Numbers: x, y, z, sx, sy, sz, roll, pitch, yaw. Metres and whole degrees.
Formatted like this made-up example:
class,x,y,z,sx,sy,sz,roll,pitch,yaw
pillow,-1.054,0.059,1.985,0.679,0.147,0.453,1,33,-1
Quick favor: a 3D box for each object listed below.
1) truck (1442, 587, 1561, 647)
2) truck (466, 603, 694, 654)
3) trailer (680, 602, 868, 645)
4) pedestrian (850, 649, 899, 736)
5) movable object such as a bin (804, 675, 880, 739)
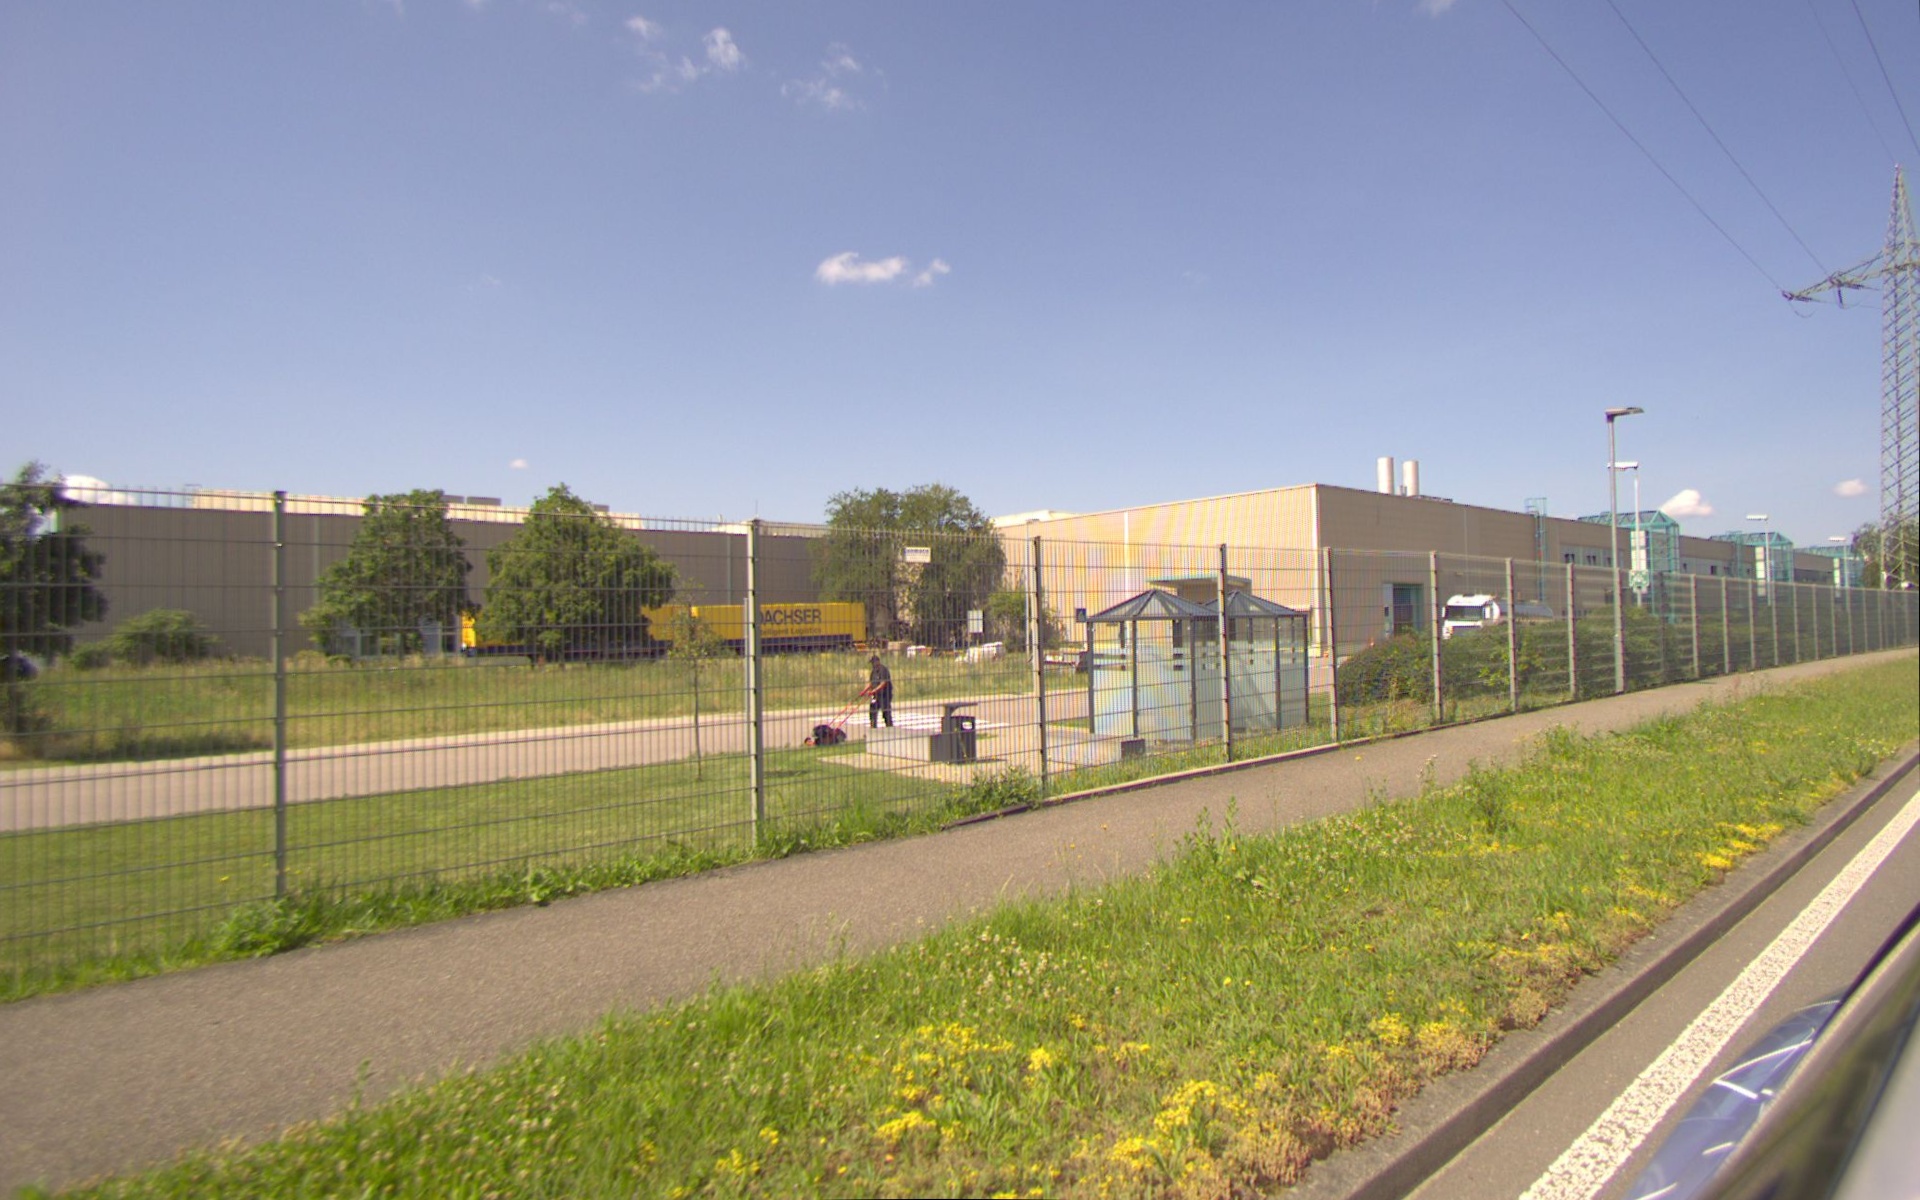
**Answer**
class,x,y,z,sx,sy,sz,roll,pitch,yaw
truck,37.043,1.024,68.959,11.466,3.789,2.862,-1,0,-39
truck,-23.445,1.667,63.518,13.493,2.747,1.997,-1,0,-40
trailer,-12.936,1.555,72.107,13.841,2.747,1.998,-1,0,-38
pedestrian,-1.793,1.932,21.244,0.778,1.752,0.592,0,-3,-40
movable object such as a bin,-2.398,2.166,20.690,1.540,1.201,0.420,0,-3,-40
